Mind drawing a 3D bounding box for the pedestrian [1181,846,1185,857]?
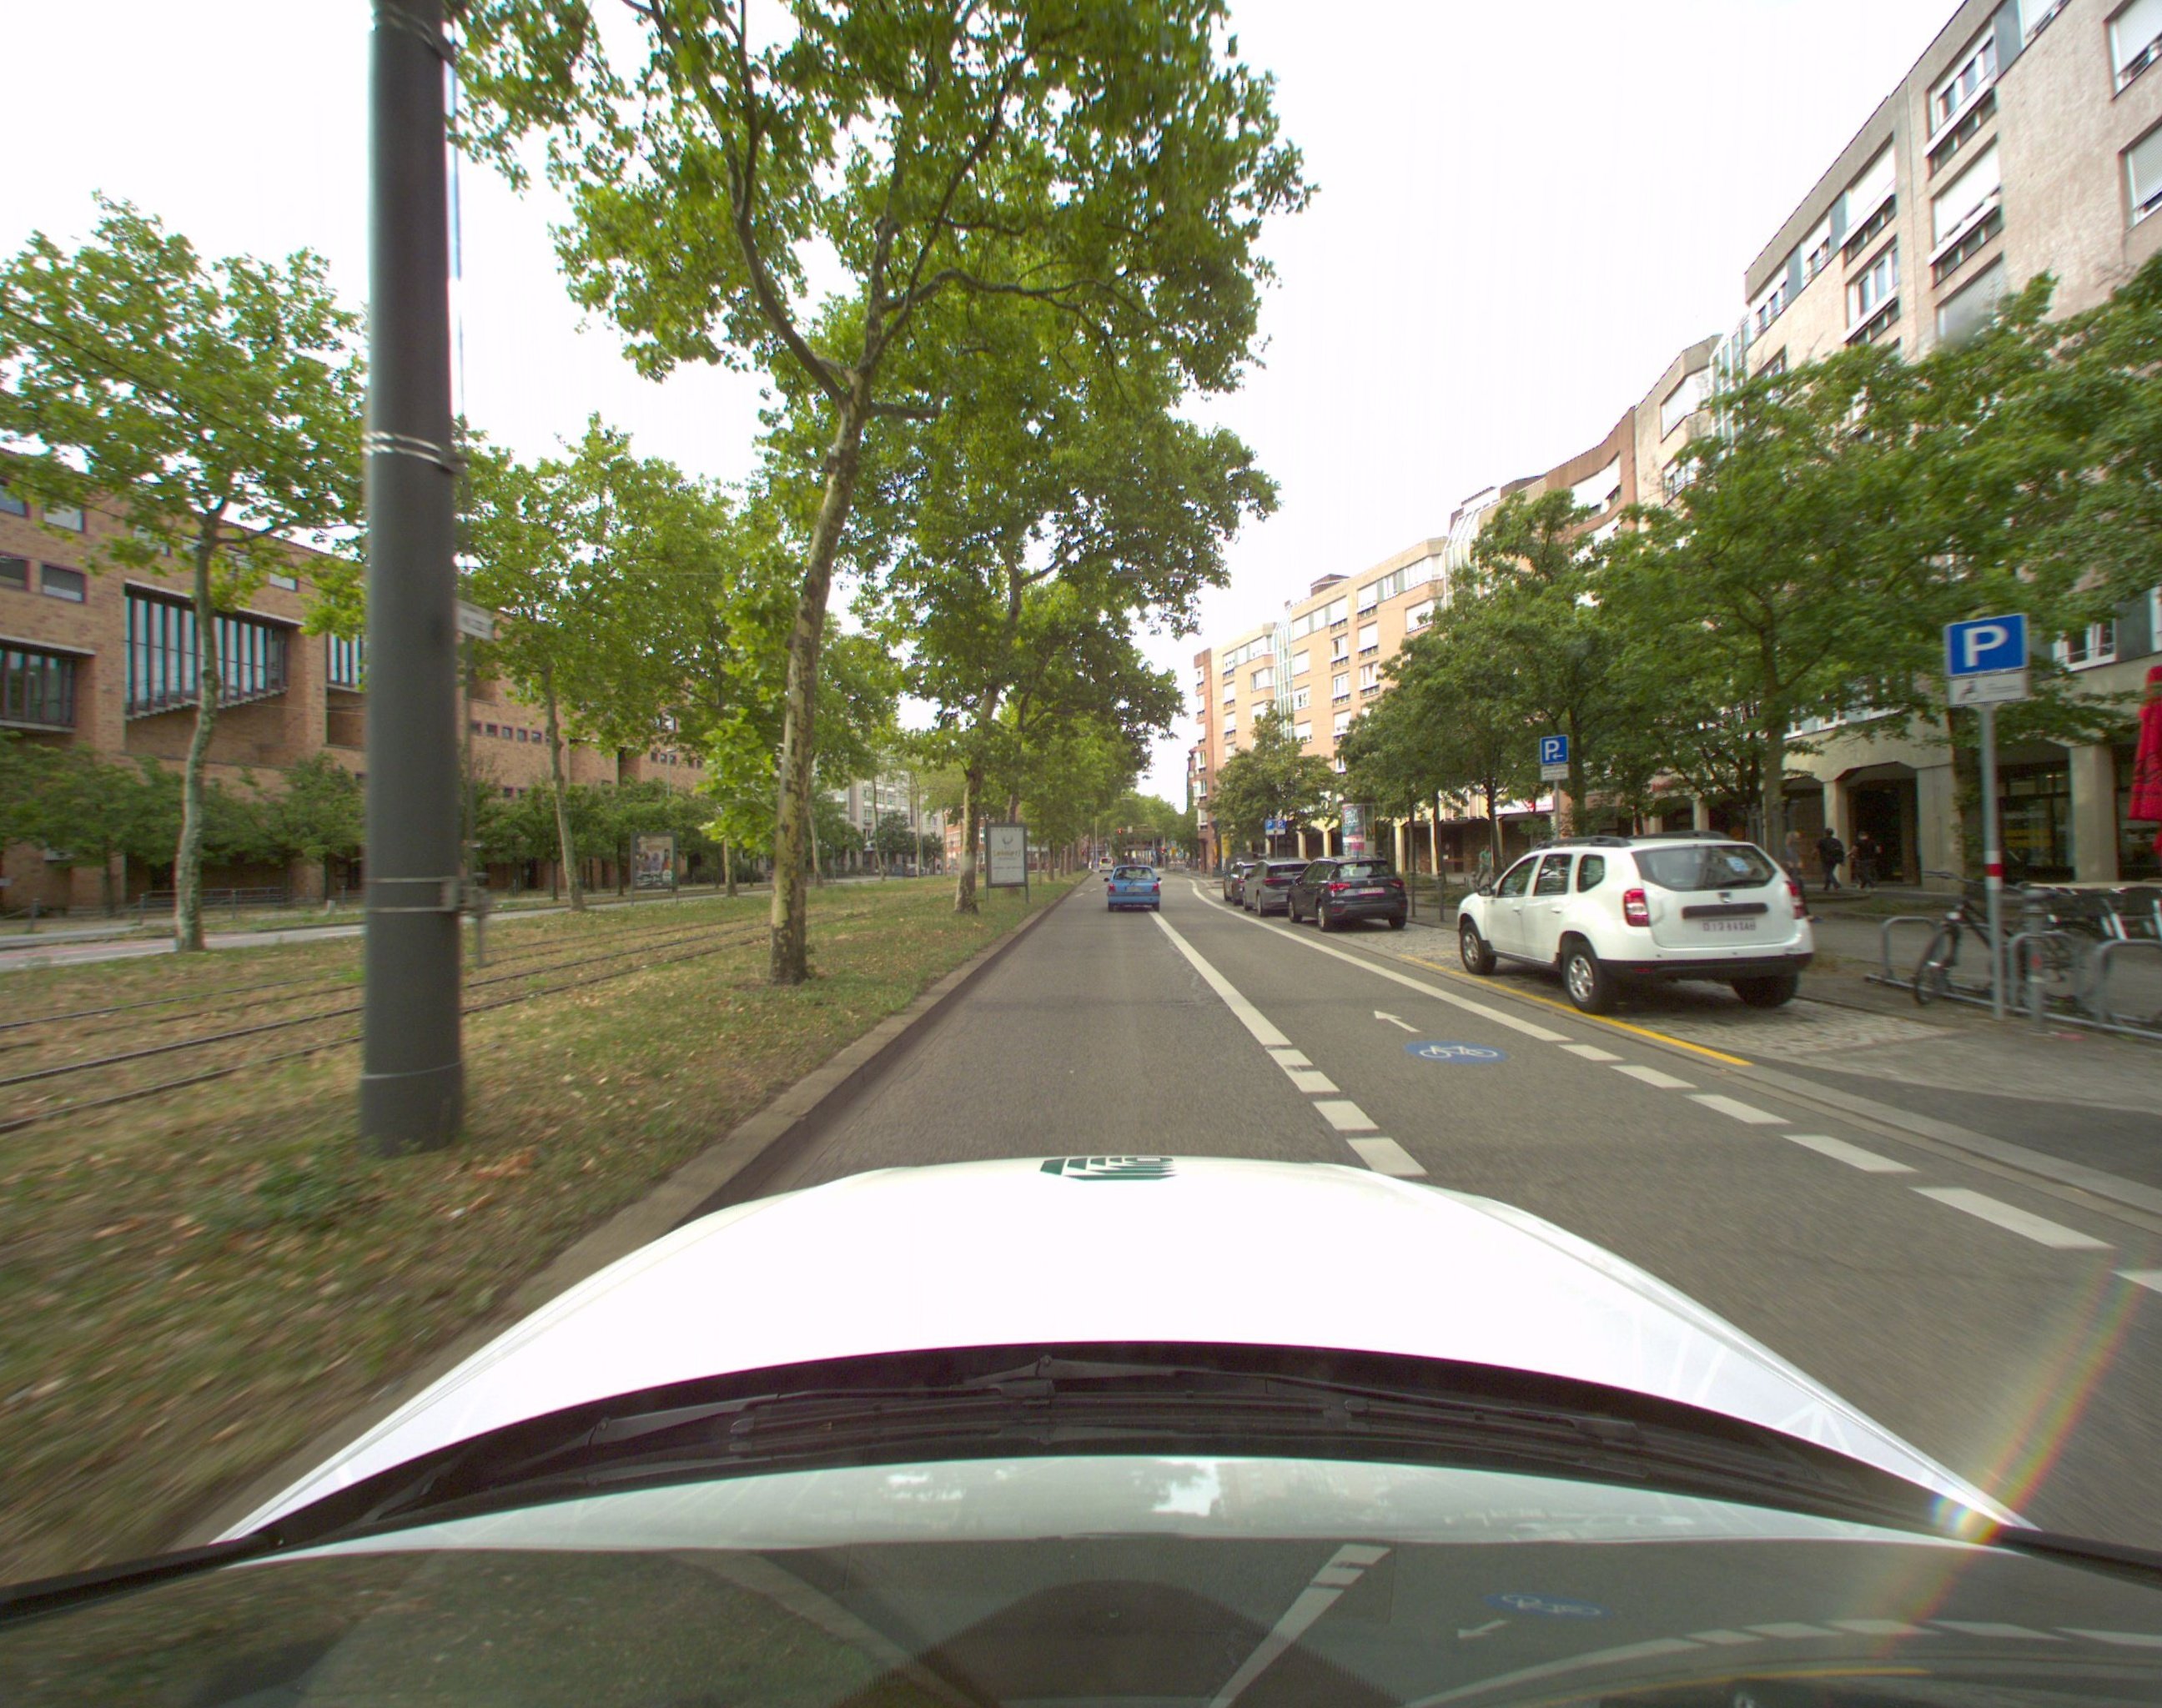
[{"bbox_3d":[15.002,-0.415,119.326,0.514,1.616,0.852,-1,-1,7],"label":"pedestrian"}]

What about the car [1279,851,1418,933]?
[{"bbox_3d":[5.762,0.765,18.080,1.709,1.519,4.204,-3,-1,1],"label":"car"}]

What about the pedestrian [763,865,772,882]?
[{"bbox_3d":[-32.292,1.999,83.924,0.549,1.705,0.627,-1,-1,6],"label":"pedestrian"}]

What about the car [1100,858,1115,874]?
[{"bbox_3d":[3.514,1.577,107.915,1.924,1.926,4.958,-1,-1,2],"label":"car"}]

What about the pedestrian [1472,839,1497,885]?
[{"bbox_3d":[14.295,0.280,28.855,0.601,1.586,0.683,-2,-1,11],"label":"pedestrian"}]

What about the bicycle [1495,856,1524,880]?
[{"bbox_3d":[21.003,0.669,39.896,1.975,1.112,0.590,0,-2,-43],"label":"bicycle"}]

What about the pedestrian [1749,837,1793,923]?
[{"bbox_3d":[12.052,0.448,14.233,0.497,1.479,0.415,-2,-1,35],"label":"pedestrian"}]

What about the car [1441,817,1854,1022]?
[{"bbox_3d":[5.692,0.578,8.965,1.852,1.653,4.169,-3,-1,5],"label":"car"}]

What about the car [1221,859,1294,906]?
[{"bbox_3d":[6.047,0.934,28.354,1.808,1.442,4.671,-3,-1,4],"label":"car"}]

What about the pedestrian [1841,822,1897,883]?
[{"bbox_3d":[20.701,-0.044,21.419,0.705,1.555,0.802,-2,-1,15],"label":"pedestrian"}]

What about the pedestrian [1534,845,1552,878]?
[{"bbox_3d":[23.349,0.379,41.160,0.529,1.662,0.854,-2,-1,14],"label":"pedestrian"}]

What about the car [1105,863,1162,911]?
[{"bbox_3d":[1.634,1.001,25.756,1.634,1.386,3.845,-1,-1,3],"label":"car"}]

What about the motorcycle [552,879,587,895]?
[{"bbox_3d":[-40.909,2.651,65.154,2.198,1.191,0.791,-1,-1,-21],"label":"motorcycle"}]

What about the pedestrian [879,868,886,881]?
[{"bbox_3d":[-25.275,2.601,103.834,0.549,1.705,0.886,-1,-1,6],"label":"pedestrian"}]

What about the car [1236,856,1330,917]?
[{"bbox_3d":[5.631,0.859,23.228,1.732,1.519,4.404,-3,-1,3],"label":"car"}]

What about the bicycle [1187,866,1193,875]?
[{"bbox_3d":[13.649,2.087,102.097,0.608,1.118,1.809,-1,-1,10],"label":"bicycle"}]

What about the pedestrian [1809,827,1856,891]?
[{"bbox_3d":[19.839,0.140,21.521,0.601,1.662,0.683,-2,-1,11],"label":"pedestrian"}]

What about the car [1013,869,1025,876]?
[{"bbox_3d":[-12.105,3.613,159.247,1.723,1.245,4.536,-1,-1,2],"label":"car"}]

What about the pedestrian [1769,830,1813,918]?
[{"bbox_3d":[12.887,0.359,14.794,0.510,1.569,0.483,-2,-1,37],"label":"pedestrian"}]

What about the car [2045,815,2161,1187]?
[{"bbox_3d":[5.169,0.567,1.593,1.765,1.577,4.314,-4,-1,8],"label":"car"}]
